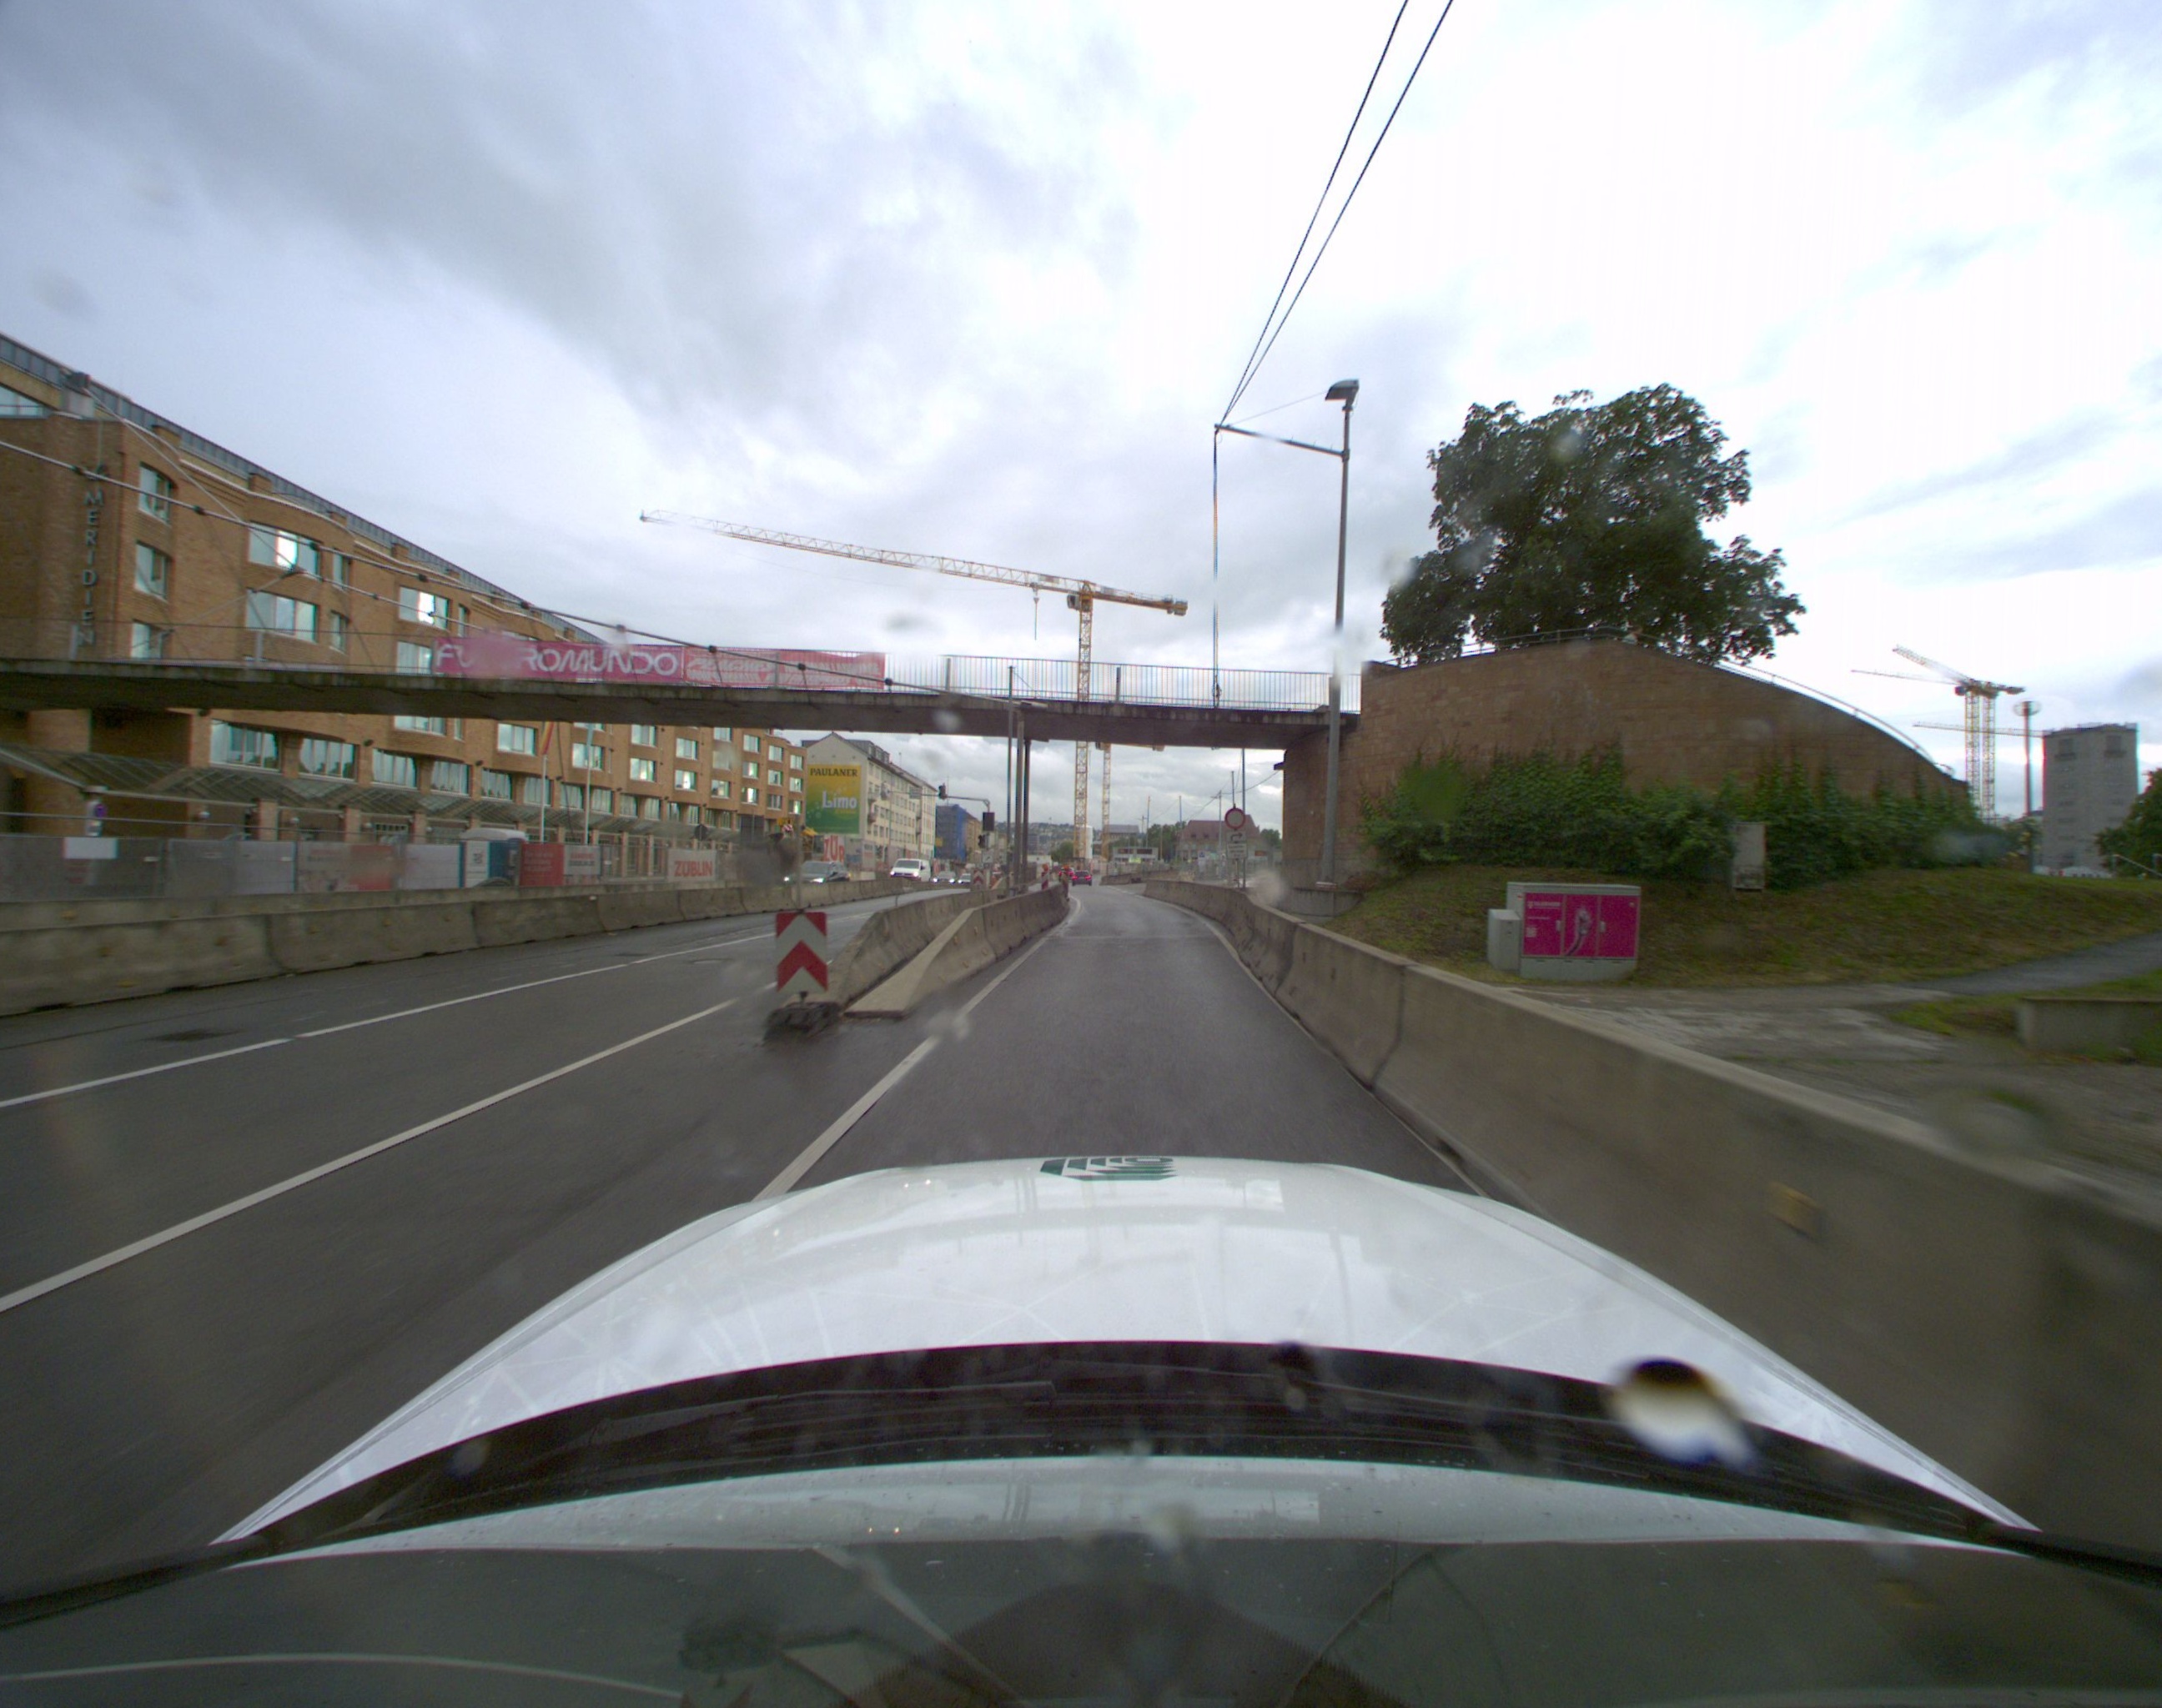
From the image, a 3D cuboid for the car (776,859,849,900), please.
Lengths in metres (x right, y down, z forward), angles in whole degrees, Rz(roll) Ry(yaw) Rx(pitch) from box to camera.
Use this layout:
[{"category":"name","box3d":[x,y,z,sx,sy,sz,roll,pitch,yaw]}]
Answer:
[{"category":"car","box3d":[-11.790,1.079,36.015,1.799,1.623,3.905,0,1,2]}]

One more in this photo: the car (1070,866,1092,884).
[{"category":"car","box3d":[-0.046,1.901,74.880,1.858,1.433,4.653,1,0,-2]}]

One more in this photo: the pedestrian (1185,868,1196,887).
[{"category":"pedestrian","box3d":[10.424,2.201,77.407,0.691,1.778,0.810,0,-2,-18]}]

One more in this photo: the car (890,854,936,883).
[{"category":"car","box3d":[-11.221,0.925,54.719,1.799,1.821,5.303,0,1,2]}]

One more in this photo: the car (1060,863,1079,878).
[{"category":"car","box3d":[-1.353,1.904,95.317,1.855,1.660,4.661,1,0,4]}]

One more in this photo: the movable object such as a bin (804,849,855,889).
[{"category":"movable object such as a bin","box3d":[-15.706,0.915,51.065,2.022,2.277,4.287,-3,0,-3]}]

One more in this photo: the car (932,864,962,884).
[{"category":"car","box3d":[-11.629,1.687,70.690,1.799,1.623,4.036,0,1,2]}]

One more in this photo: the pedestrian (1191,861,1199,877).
[{"category":"pedestrian","box3d":[12.490,1.659,89.187,0.687,1.778,1.023,0,-1,0]}]

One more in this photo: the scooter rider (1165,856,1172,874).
[{"category":"scooter rider","box3d":[8.304,1.053,77.354,0.517,1.755,0.703,-1,0,19]}]

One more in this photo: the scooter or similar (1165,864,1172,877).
[{"category":"scooter or similar","box3d":[8.305,1.541,77.354,0.487,1.179,1.101,-1,0,19]}]
